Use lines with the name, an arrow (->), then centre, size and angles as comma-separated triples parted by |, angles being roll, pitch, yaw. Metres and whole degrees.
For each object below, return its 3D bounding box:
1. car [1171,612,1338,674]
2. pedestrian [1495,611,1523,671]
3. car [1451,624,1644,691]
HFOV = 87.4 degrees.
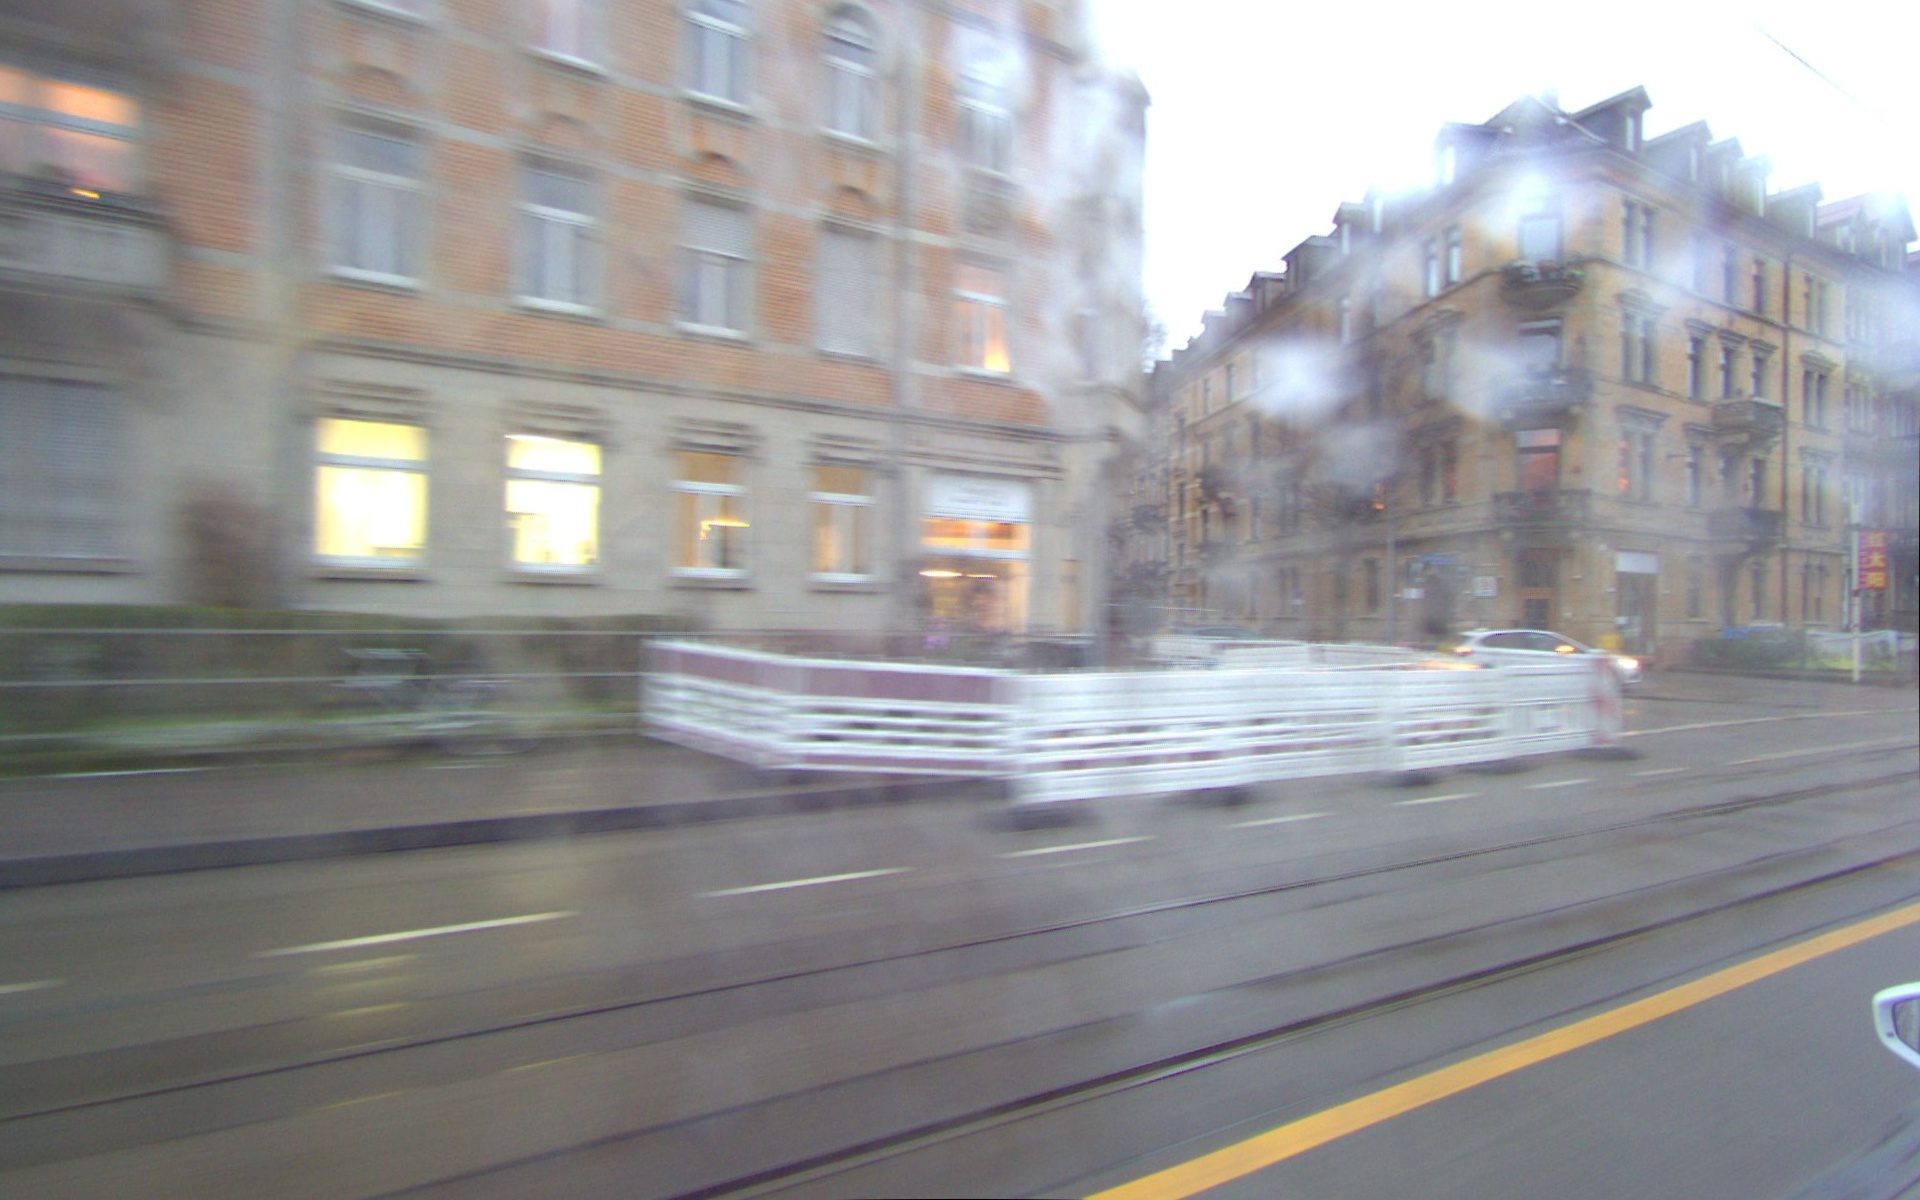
car -> 7.797, 1.129, 26.811 | 3.923, 1.550, 1.728 | 1, -1, -3
pedestrian -> 16.660, 1.231, 30.470 | 0.708, 1.797, 0.769 | 0, -1, 32
car -> 15.060, 1.434, 26.039 | 4.093, 1.546, 1.999 | 0, -1, 24
